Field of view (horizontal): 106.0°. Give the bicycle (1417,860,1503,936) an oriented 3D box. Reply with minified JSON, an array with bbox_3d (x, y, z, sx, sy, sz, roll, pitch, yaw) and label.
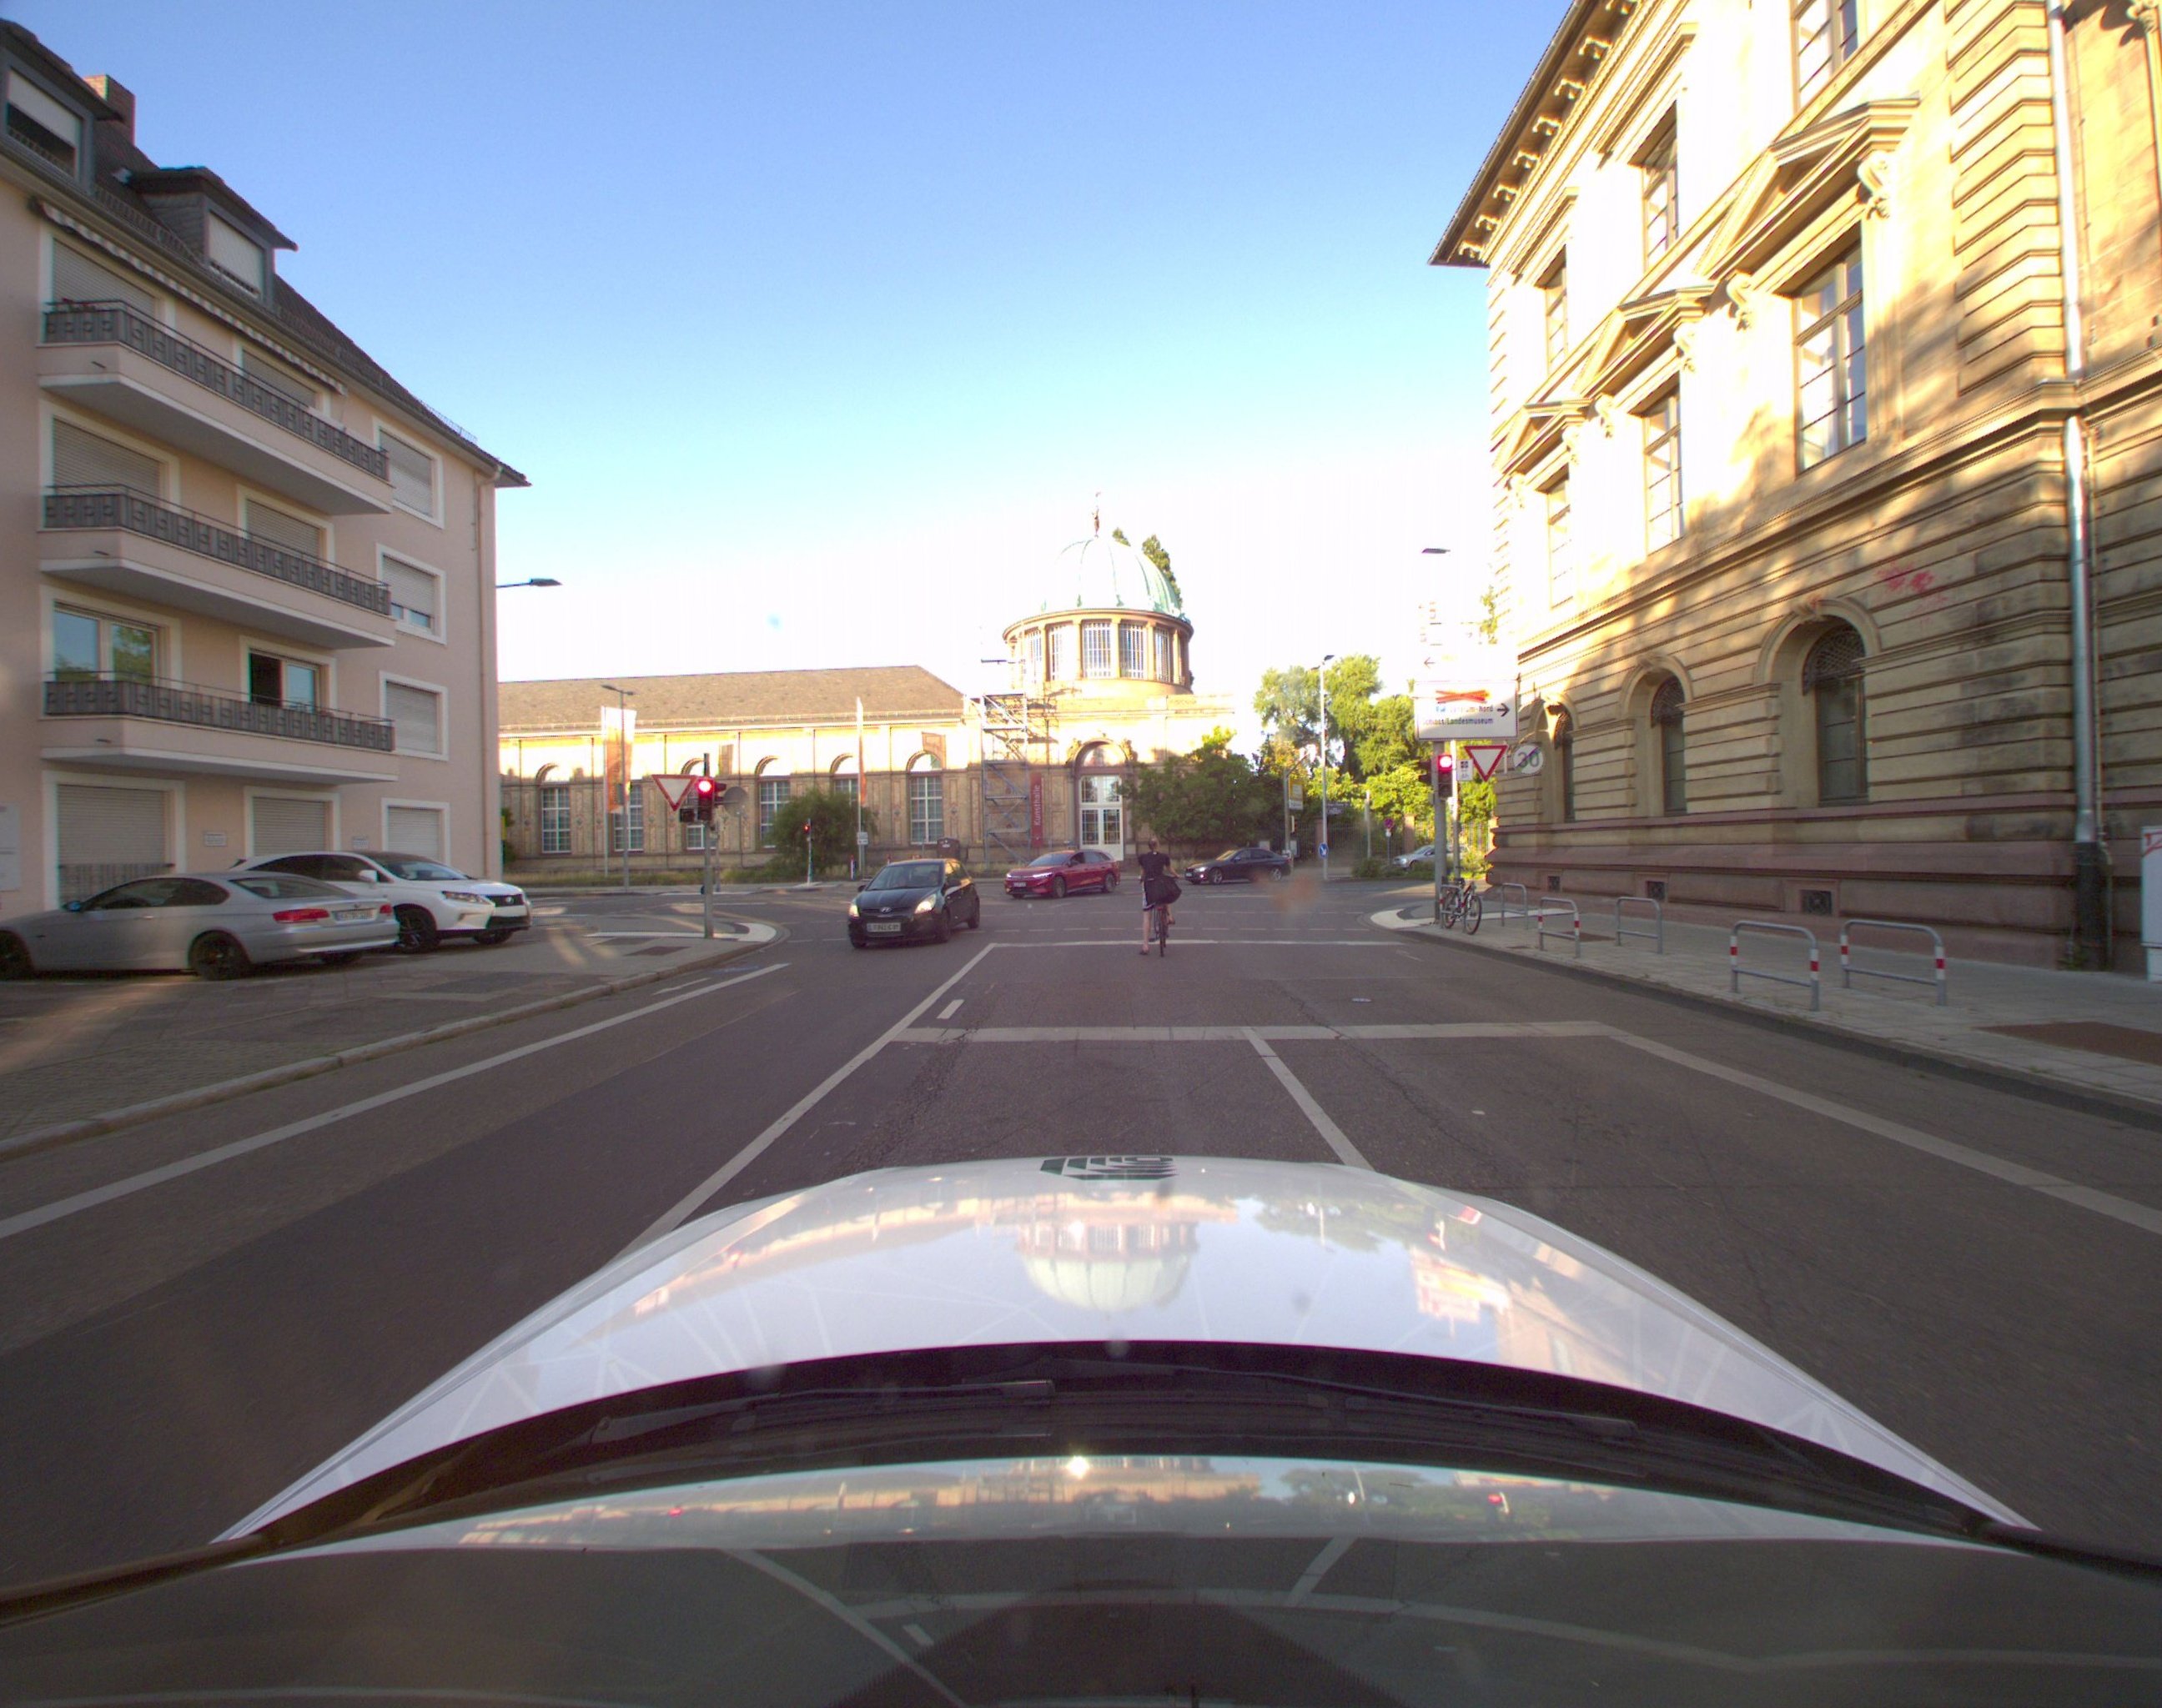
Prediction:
[{"bbox_3d":[6.382,0.717,13.808,0.580,1.188,1.921,-1,-1,2],"label":"bicycle"}]

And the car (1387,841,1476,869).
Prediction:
[{"bbox_3d":[19.362,0.046,45.080,4.176,1.445,1.713,-1,0,-4],"label":"car"}]

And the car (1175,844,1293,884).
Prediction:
[{"bbox_3d":[6.294,0.398,33.518,4.419,1.459,1.778,-2,0,-17],"label":"car"}]

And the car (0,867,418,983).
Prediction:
[{"bbox_3d":[-11.879,0.904,11.068,4.253,1.380,1.735,0,0,-1],"label":"car"}]

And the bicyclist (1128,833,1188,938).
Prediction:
[{"bbox_3d":[1.170,0.468,12.212,0.710,1.502,0.854,-2,-2,16],"label":"bicyclist"}]

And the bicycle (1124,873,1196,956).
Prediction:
[{"bbox_3d":[1.244,0.876,12.439,0.706,1.156,2.077,-2,-2,16],"label":"bicycle"}]

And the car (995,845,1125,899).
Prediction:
[{"bbox_3d":[-0.591,0.547,27.571,1.813,1.545,4.879,-2,1,35],"label":"car"}]

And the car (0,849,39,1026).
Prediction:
[{"bbox_3d":[-11.998,0.747,6.659,4.404,1.605,1.916,0,0,-1],"label":"car"}]

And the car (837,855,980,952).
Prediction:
[{"bbox_3d":[-3.099,0.829,15.443,1.651,1.471,3.857,-2,1,3],"label":"car"}]

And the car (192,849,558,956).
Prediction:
[{"bbox_3d":[-11.696,0.754,13.757,4.426,1.641,1.942,0,0,-1],"label":"car"}]

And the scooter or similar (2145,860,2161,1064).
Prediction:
[{"bbox_3d":[6.869,0.628,4.493,1.123,1.195,0.585,-1,0,8],"label":"scooter or similar"}]
